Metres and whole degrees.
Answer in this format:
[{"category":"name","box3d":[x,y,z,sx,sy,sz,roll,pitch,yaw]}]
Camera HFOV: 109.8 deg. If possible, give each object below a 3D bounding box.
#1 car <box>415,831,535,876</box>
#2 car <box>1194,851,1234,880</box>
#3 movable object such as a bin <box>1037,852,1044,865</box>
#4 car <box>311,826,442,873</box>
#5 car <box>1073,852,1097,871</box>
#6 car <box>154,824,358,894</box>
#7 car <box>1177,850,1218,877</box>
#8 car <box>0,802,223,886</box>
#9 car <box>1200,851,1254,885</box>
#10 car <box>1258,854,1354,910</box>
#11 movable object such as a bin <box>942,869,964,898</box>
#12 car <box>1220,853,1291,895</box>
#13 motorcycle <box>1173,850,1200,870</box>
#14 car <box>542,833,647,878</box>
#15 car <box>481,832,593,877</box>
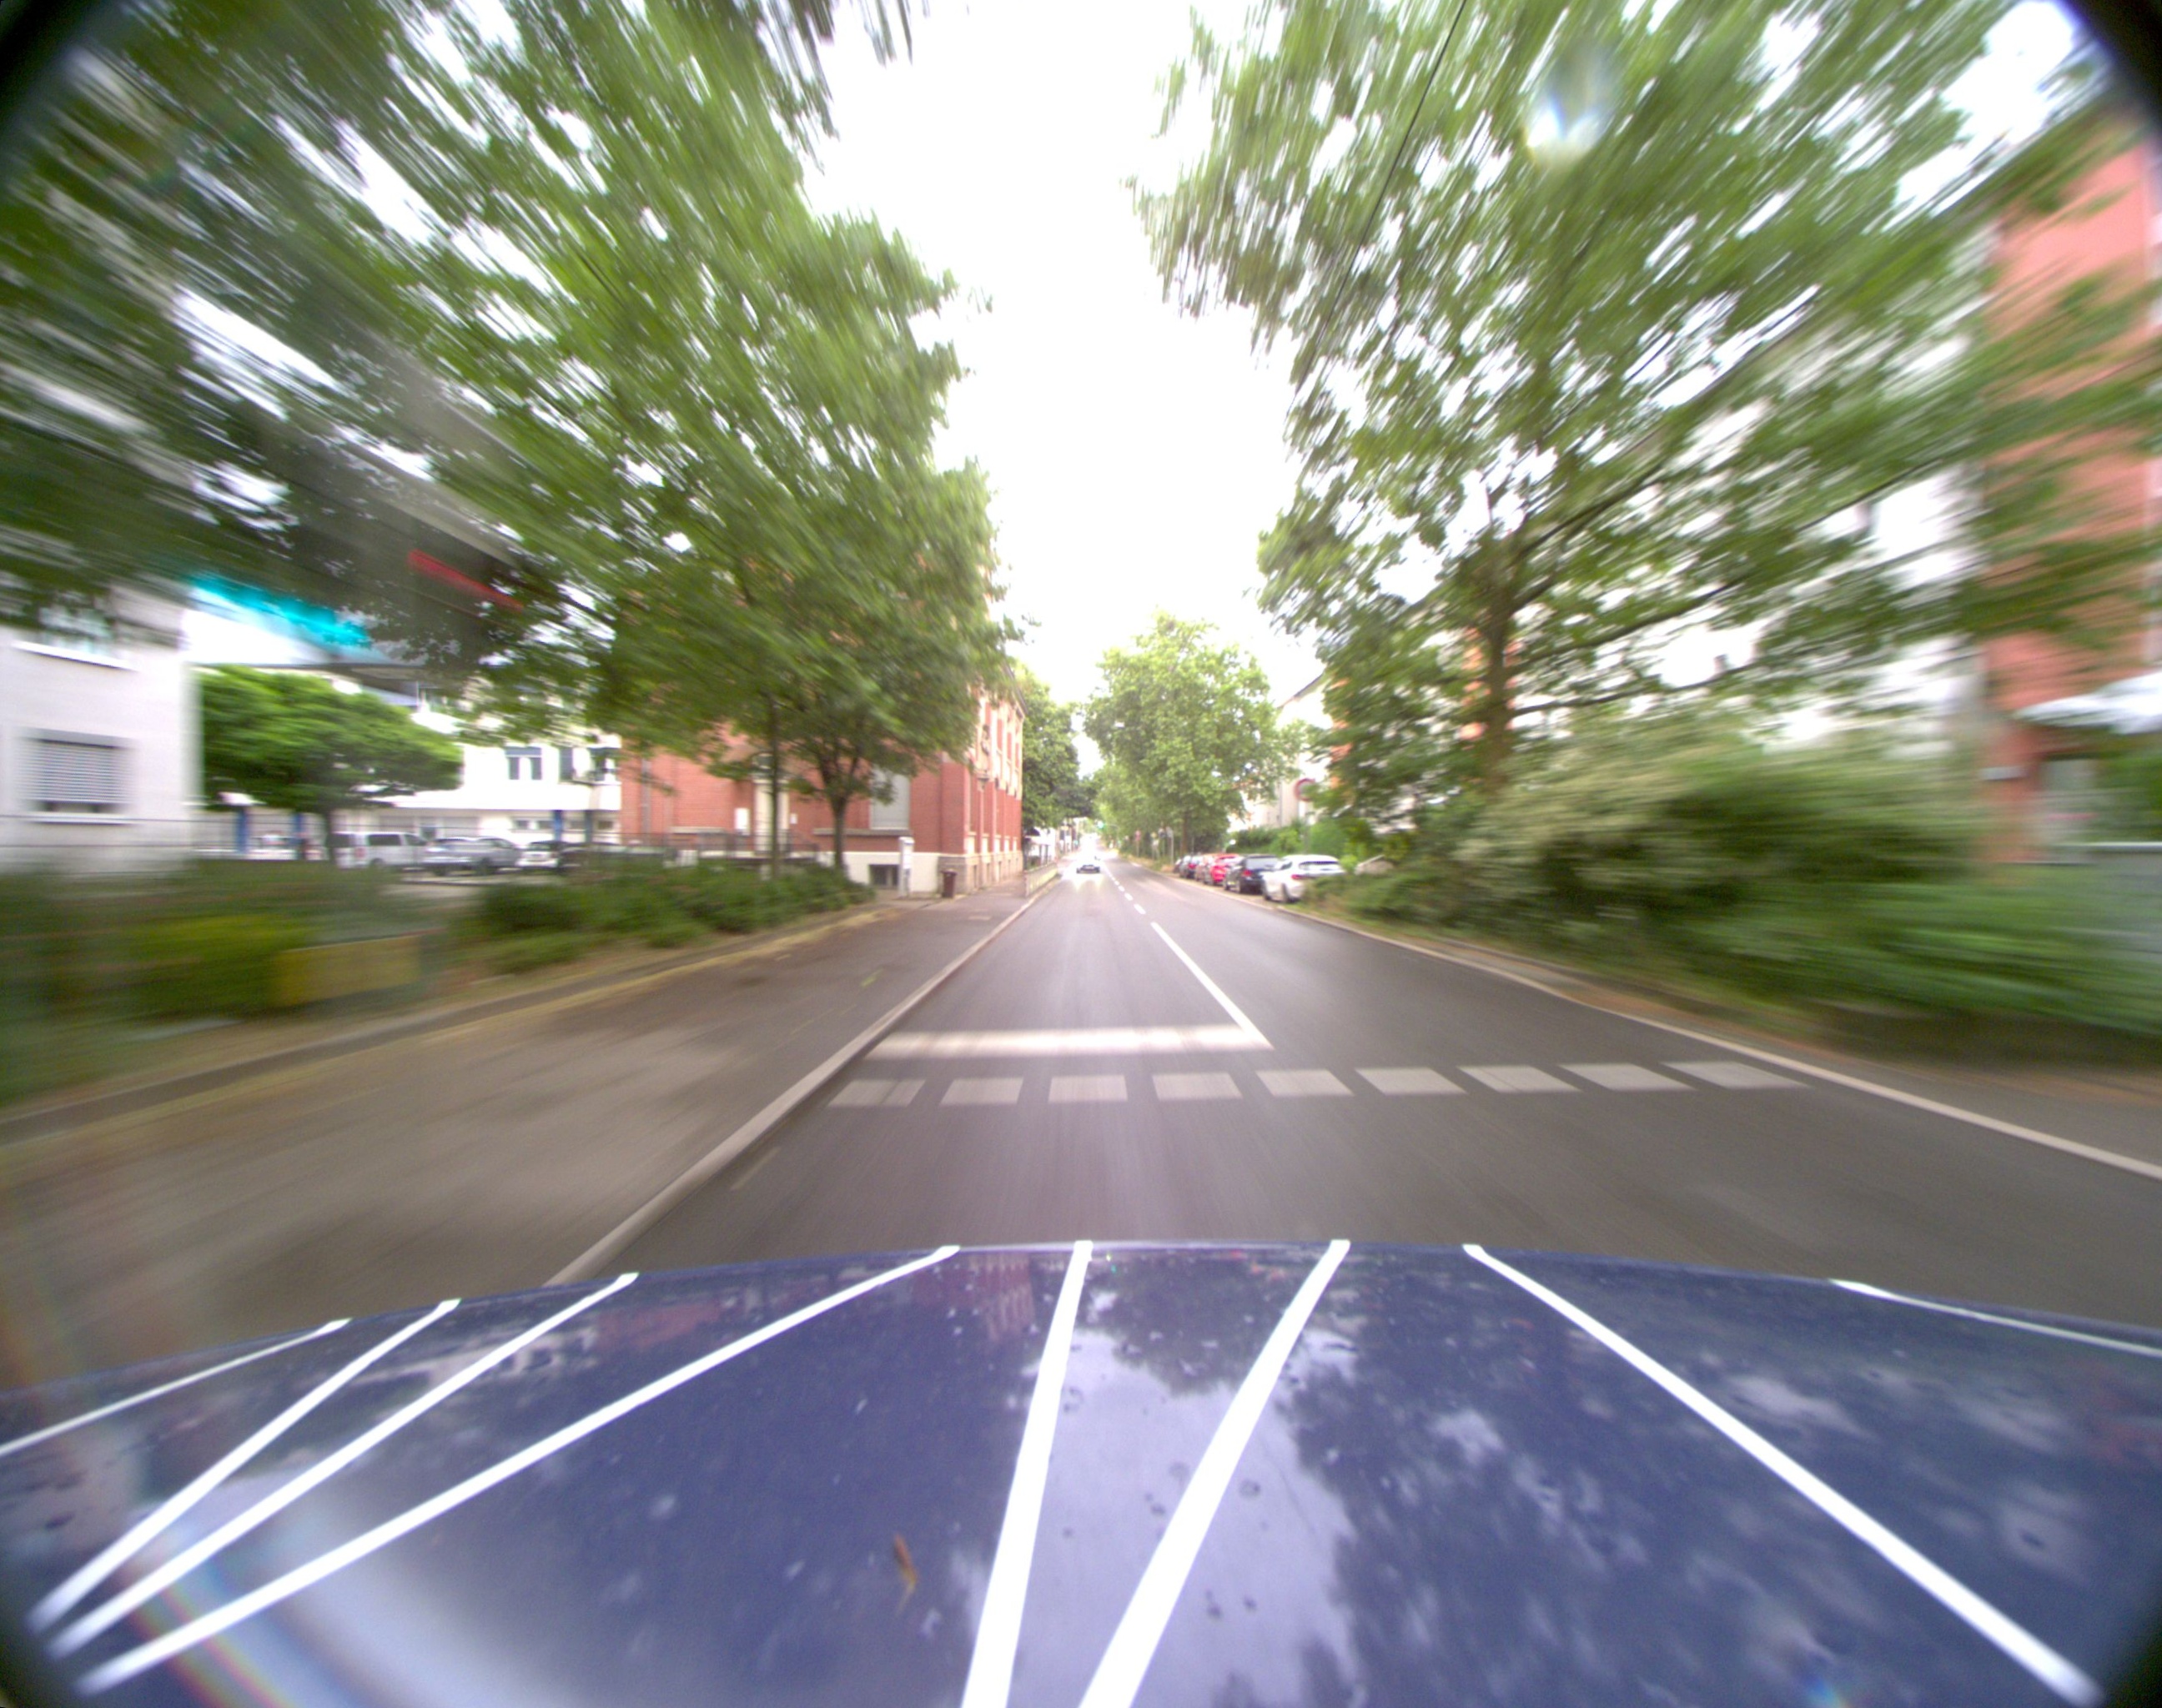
[{"category":"car","box3d":[-26.492,-0.065,33.393,1.913,1.808,3.997,-2,2,1]},{"category":"car","box3d":[7.137,0.596,41.010,1.559,1.459,3.396,-1,1,-1]},{"category":"movable object such as a bin","box3d":[-3.429,0.375,64.240,0.506,1.109,0.618,0,1,1]},{"category":"car","box3d":[-31.094,-0.244,33.727,1.913,1.938,3.997,-2,2,1]},{"category":"car","box3d":[0.289,0.565,58.551,1.692,1.334,3.998,0,1,-2]},{"category":"car","box3d":[-25.364,0.084,23.602,1.819,1.938,3.997,-2,2,1]},{"category":"car","box3d":[7.039,0.554,46.315,1.721,1.501,4.803,-1,1,-1]},{"category":"car","box3d":[-30.991,-0.317,23.784,2.036,2.316,5.296,-2,2,1]},{"category":"car","box3d":[6.765,0.591,35.530,1.721,1.459,3.755,-1,1,-1]},{"category":"car","box3d":[6.628,0.758,22.835,1.721,1.459,4.309,-1,1,2]},{"category":"movable object such as a bin","box3d":[-4.181,0.965,24.897,0.592,0.927,0.572,2,1,0]},{"category":"car","box3d":[6.576,0.708,29.086,1.721,1.459,4.232,-1,1,-1]},{"category":"motorcycle","box3d":[7.136,0.401,51.382,1.717,1.332,0.722,1,1,1]},{"category":"car","box3d":[-21.425,-0.002,33.667,1.913,1.808,3.997,-2,2,1]},{"category":"car","box3d":[-23.724,-0.026,33.343,1.913,1.808,3.997,-2,2,1]}]
